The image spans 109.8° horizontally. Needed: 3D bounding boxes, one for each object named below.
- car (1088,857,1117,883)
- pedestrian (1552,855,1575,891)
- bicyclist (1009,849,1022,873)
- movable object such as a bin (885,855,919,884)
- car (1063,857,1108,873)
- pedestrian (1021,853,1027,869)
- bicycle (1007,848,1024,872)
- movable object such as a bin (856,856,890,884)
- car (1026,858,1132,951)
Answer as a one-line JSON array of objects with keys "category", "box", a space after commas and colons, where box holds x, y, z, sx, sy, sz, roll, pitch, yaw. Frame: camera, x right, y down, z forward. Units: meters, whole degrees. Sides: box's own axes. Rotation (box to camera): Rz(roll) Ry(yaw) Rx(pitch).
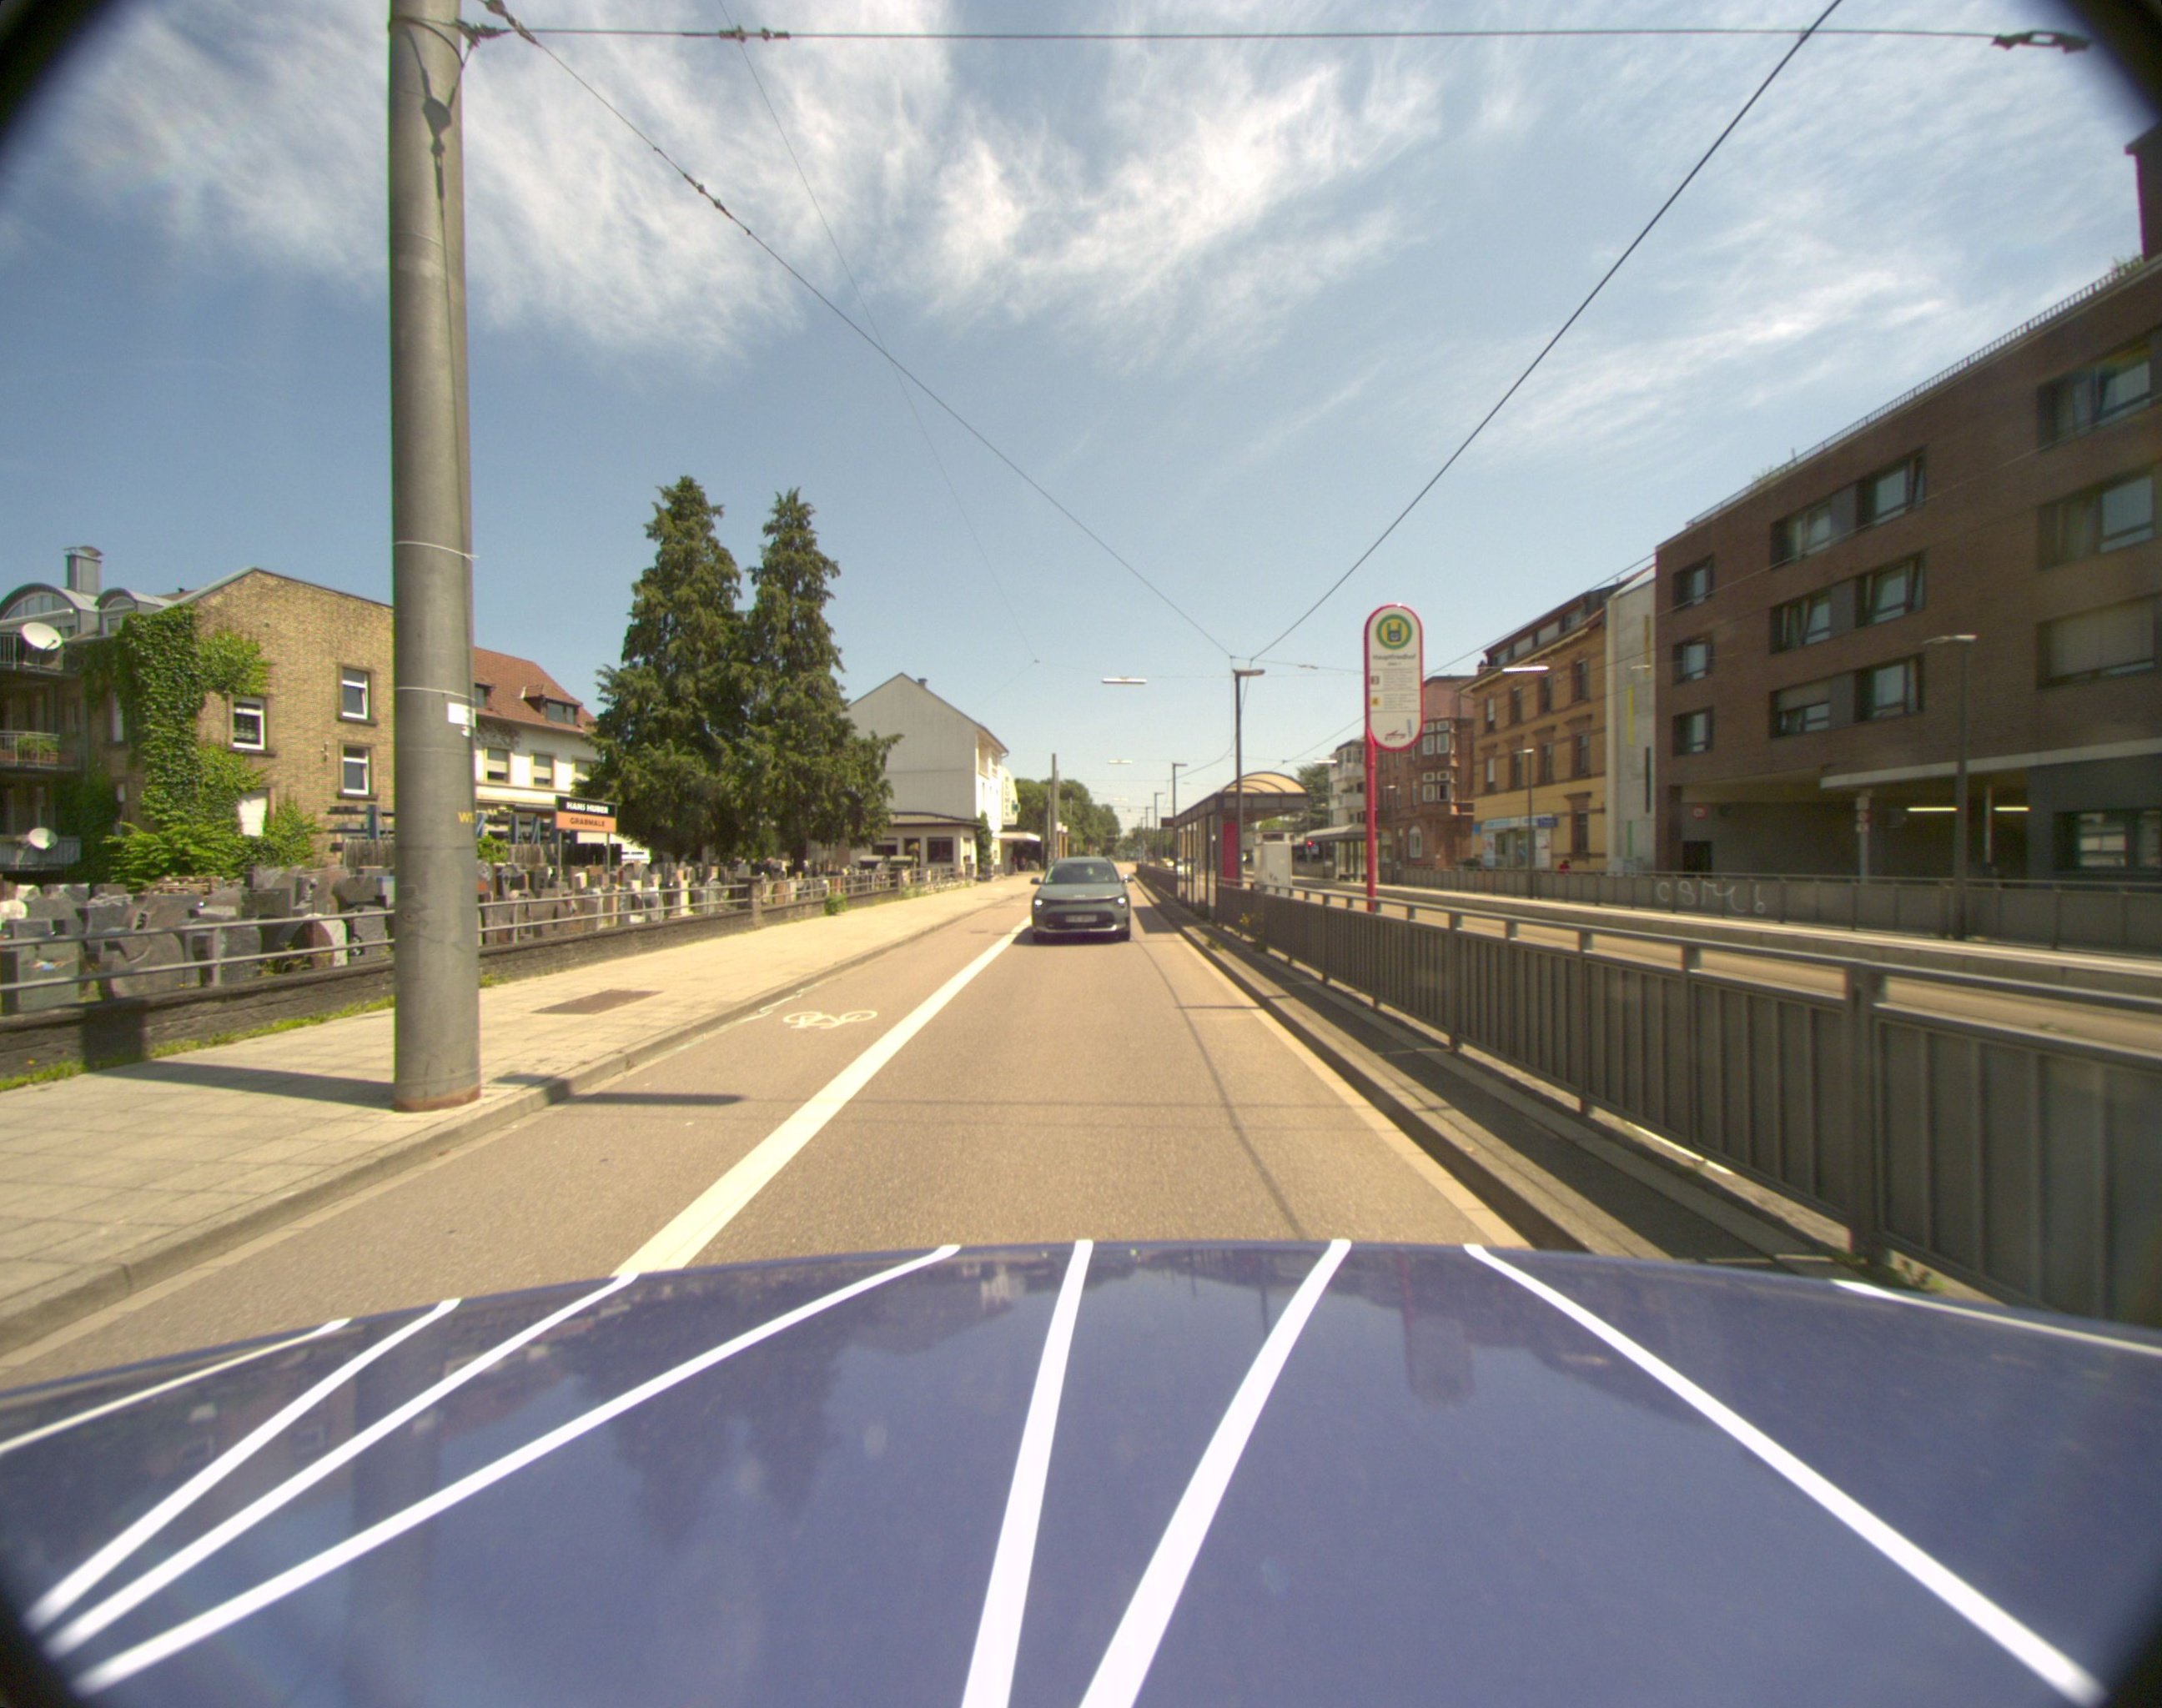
[{"category": "car", "box": [1.397, 1.028, 50.604, 1.748, 1.546, 4.487, -3, 0, 1]}, {"category": "pedestrian", "box": [21.884, 0.853, 34.490, 0.604, 1.586, 0.715, 0, 1, 1]}, {"category": "bicyclist", "box": [-5.342, 0.579, 61.911, 0.790, 1.863, 0.888, 2, 0, 10]}, {"category": "movable object such as a bin", "box": [-9.310, 0.821, 39.560, 1.390, 1.472, 1.151, -1, 0, 4]}, {"category": "car", "box": [0.413, 0.992, 70.092, 3.995, 1.508, 1.698, 0, 0, 5]}, {"category": "pedestrian", "box": [-5.796, 0.750, 77.457, 0.536, 1.589, 0.425, -2, 1, -10]}, {"category": "bicycle", "box": [-5.321, 0.522, 61.968, 0.799, 1.889, 1.960, 2, 0, 10]}, {"category": "movable object such as a bin", "box": [-10.882, 0.833, 39.831, 1.390, 1.472, 1.152, 0, 0, 7]}, {"category": "car", "box": [0.020, 0.892, 15.482, 1.827, 1.546, 4.487, -1, 0, 1]}]
